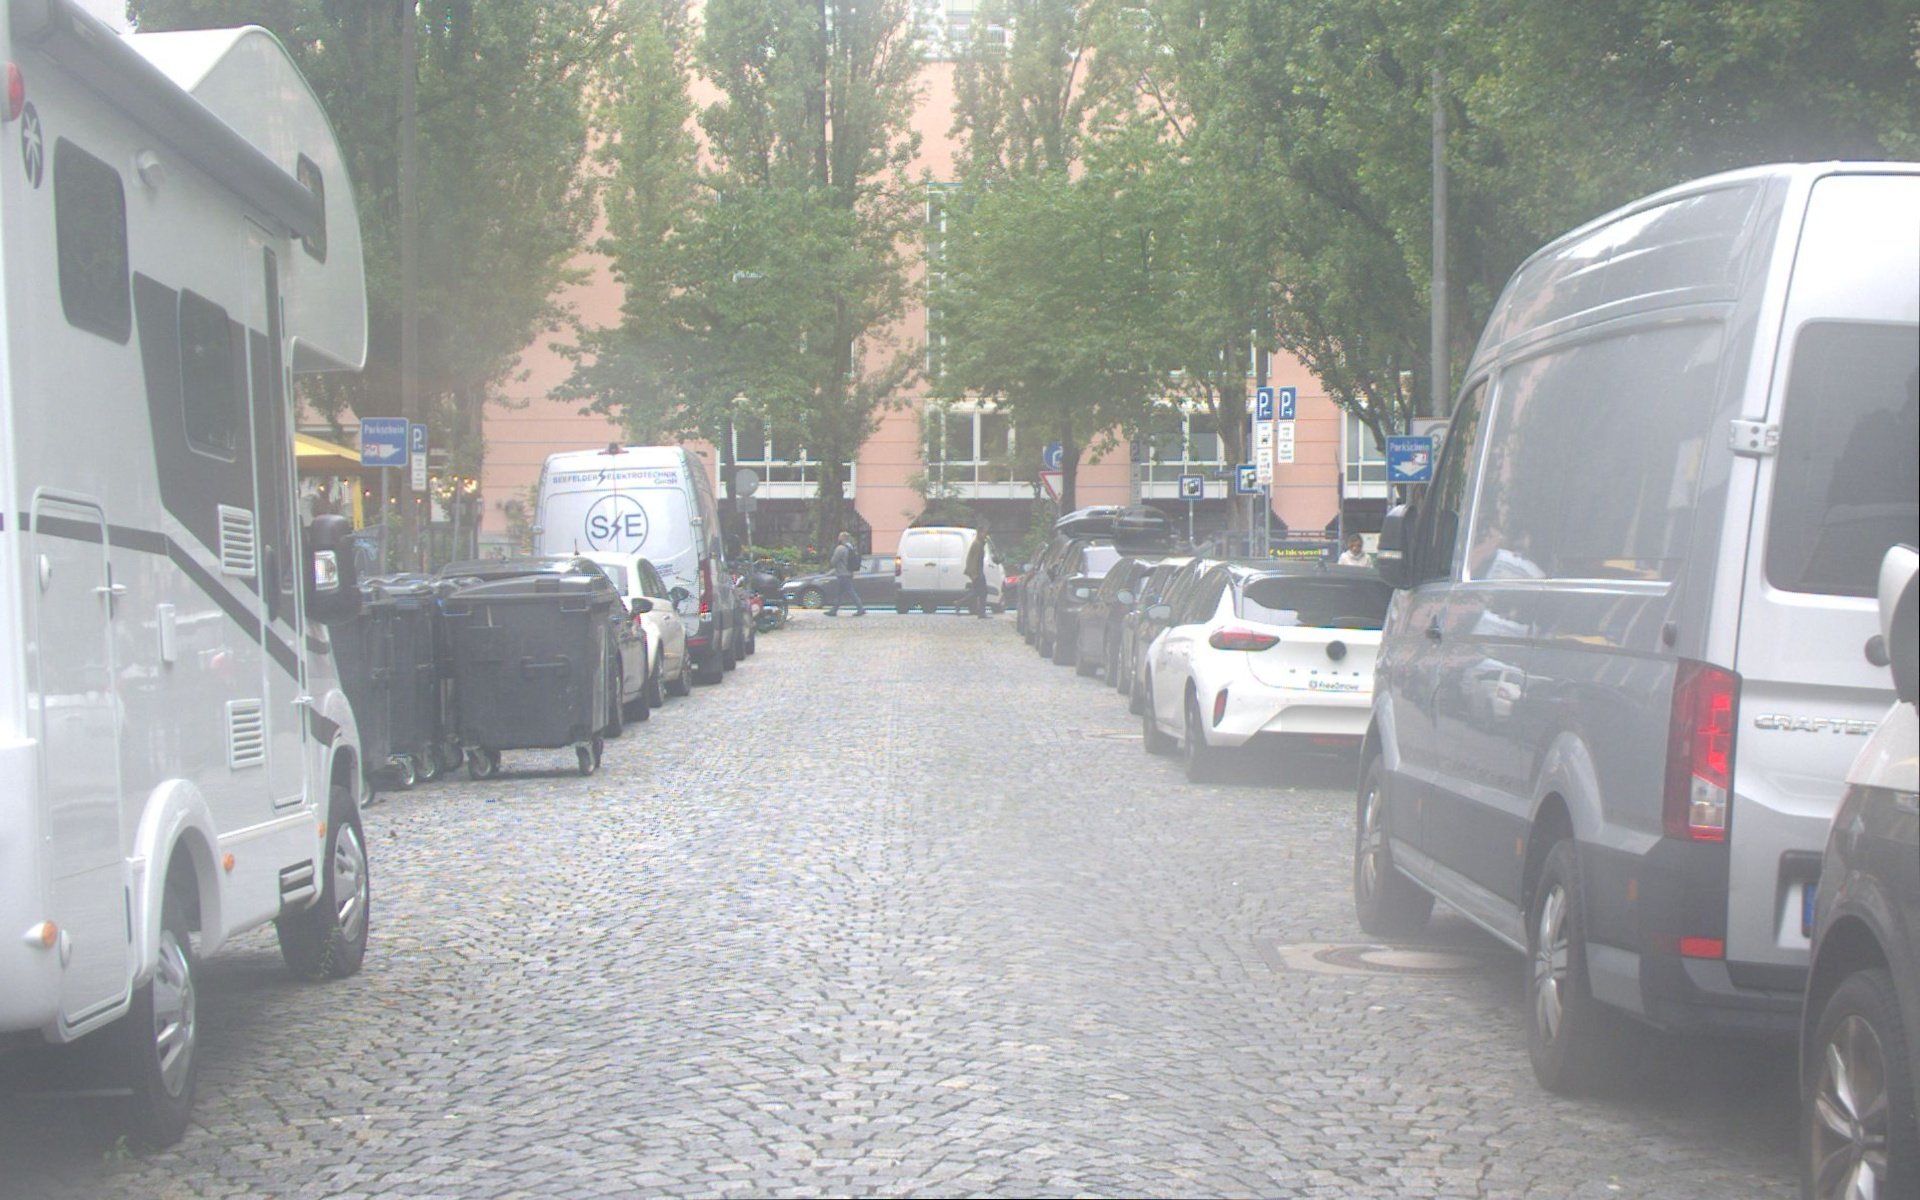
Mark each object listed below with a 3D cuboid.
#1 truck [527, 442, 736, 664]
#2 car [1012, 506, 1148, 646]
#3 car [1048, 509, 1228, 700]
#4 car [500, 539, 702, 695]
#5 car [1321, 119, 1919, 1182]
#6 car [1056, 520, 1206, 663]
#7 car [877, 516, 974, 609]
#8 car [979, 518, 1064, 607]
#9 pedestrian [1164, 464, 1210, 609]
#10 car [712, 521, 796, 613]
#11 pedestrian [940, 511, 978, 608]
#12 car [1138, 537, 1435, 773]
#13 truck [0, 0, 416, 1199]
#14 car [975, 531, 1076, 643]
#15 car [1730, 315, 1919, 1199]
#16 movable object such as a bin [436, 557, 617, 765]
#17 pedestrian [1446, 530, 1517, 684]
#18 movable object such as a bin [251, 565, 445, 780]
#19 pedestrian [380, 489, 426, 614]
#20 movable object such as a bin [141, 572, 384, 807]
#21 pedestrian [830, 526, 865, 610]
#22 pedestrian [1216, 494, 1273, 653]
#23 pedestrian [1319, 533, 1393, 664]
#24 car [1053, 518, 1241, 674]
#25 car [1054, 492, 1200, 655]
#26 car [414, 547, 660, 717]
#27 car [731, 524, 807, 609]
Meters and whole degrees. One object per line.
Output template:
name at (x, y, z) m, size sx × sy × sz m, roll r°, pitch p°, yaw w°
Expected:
truck at (-3.618, -0.519, 38.467) m, size 1.993 × 2.338 × 4.068 m, roll 0°, pitch 1°, yaw -1°
car at (1.696, -0.353, 49.755) m, size 1.868 × 1.954 × 4.000 m, roll 0°, pitch 1°, yaw 1°
car at (1.631, 0.027, 32.260) m, size 1.470 × 1.700 × 3.119 m, roll 0°, pitch 1°, yaw -1°
car at (-3.497, 0.138, 33.962) m, size 1.662 × 1.450 × 3.548 m, roll 0°, pitch 1°, yaw -1°
car at (2.521, 0.088, 10.750) m, size 1.895 × 2.418 × 5.612 m, roll 4°, pitch 1°, yaw -2°
car at (1.993, -0.113, 40.766) m, size 1.634 × 1.599 × 3.272 m, roll 1°, pitch 1°, yaw 1°
car at (-0.709, -0.797, 73.522) m, size 1.996 × 1.929 × 4.000 m, roll 0°, pitch 1°, yaw 1°
car at (1.187, -0.737, 67.485) m, size 1.470 × 1.700 × 3.119 m, roll 0°, pitch 1°, yaw -2°
pedestrian at (3.788, -1.058, 57.476) m, size 0.711 × 2.417 × 0.813 m, roll 0°, pitch 0°, yaw 1°
car at (-3.513, -0.572, 59.019) m, size 1.290 × 1.534 × 3.119 m, roll 0°, pitch 1°, yaw -1°
pedestrian at (-0.022, -0.799, 67.584) m, size 0.725 × 1.904 × 0.641 m, roll 0°, pitch 0°, yaw 1°
car at (2.150, 0.332, 23.406) m, size 1.599 × 1.481 × 3.479 m, roll 0°, pitch 1°, yaw -1°
truck at (-3.192, -0.153, 9.362) m, size 2.508 × 3.021 × 6.385 m, roll -2°, pitch 1°, yaw -2°
car at (1.001, -0.218, 54.001) m, size 1.470 × 1.700 × 3.119 m, roll 0°, pitch 1°, yaw -1°
car at (2.676, 0.497, 5.060) m, size 1.800 × 1.943 × 4.861 m, roll 3°, pitch 1°, yaw -1°
movable object such as a bin at (-2.896, 0.393, 23.114) m, size 1.064 × 1.359 × 1.289 m, roll 0°, pitch 0°, yaw -1°
pedestrian at (6.188, 0.078, 40.809) m, size 0.711 × 1.798 × 0.813 m, roll 0°, pitch 0°, yaw 1°
movable object such as a bin at (-3.979, 0.456, 22.464) m, size 1.073 × 1.359 × 1.273 m, roll 0°, pitch 0°, yaw -2°
pedestrian at (-8.420, -0.732, 52.000) m, size 0.603 × 1.871 × 0.548 m, roll 0°, pitch 0°, yaw -1°
movable object such as a bin at (-4.150, 0.515, 20.567) m, size 1.234 × 1.359 × 1.111 m, roll 0°, pitch 0°, yaw -1°
pedestrian at (-2.252, -0.641, 69.054) m, size 0.687 × 1.681 × 0.500 m, roll 0°, pitch 0°, yaw -1°
pedestrian at (3.929, -0.367, 47.461) m, size 0.711 × 2.184 × 0.813 m, roll 0°, pitch 0°, yaw 1°
pedestrian at (5.218, -0.022, 45.354) m, size 0.791 × 1.713 × 0.856 m, roll 0°, pitch 0°, yaw -6°
car at (1.962, -0.058, 36.865) m, size 1.868 × 1.599 × 3.272 m, roll 0°, pitch 1°, yaw 1°
car at (2.123, -0.346, 44.605) m, size 1.743 × 2.024 × 3.865 m, roll 0°, pitch 1°, yaw 1°
car at (-3.480, 0.237, 28.794) m, size 1.662 × 1.325 × 3.548 m, roll 0°, pitch 1°, yaw -1°
car at (-3.532, -0.622, 63.934) m, size 1.276 × 1.536 × 3.119 m, roll 0°, pitch 1°, yaw -1°
